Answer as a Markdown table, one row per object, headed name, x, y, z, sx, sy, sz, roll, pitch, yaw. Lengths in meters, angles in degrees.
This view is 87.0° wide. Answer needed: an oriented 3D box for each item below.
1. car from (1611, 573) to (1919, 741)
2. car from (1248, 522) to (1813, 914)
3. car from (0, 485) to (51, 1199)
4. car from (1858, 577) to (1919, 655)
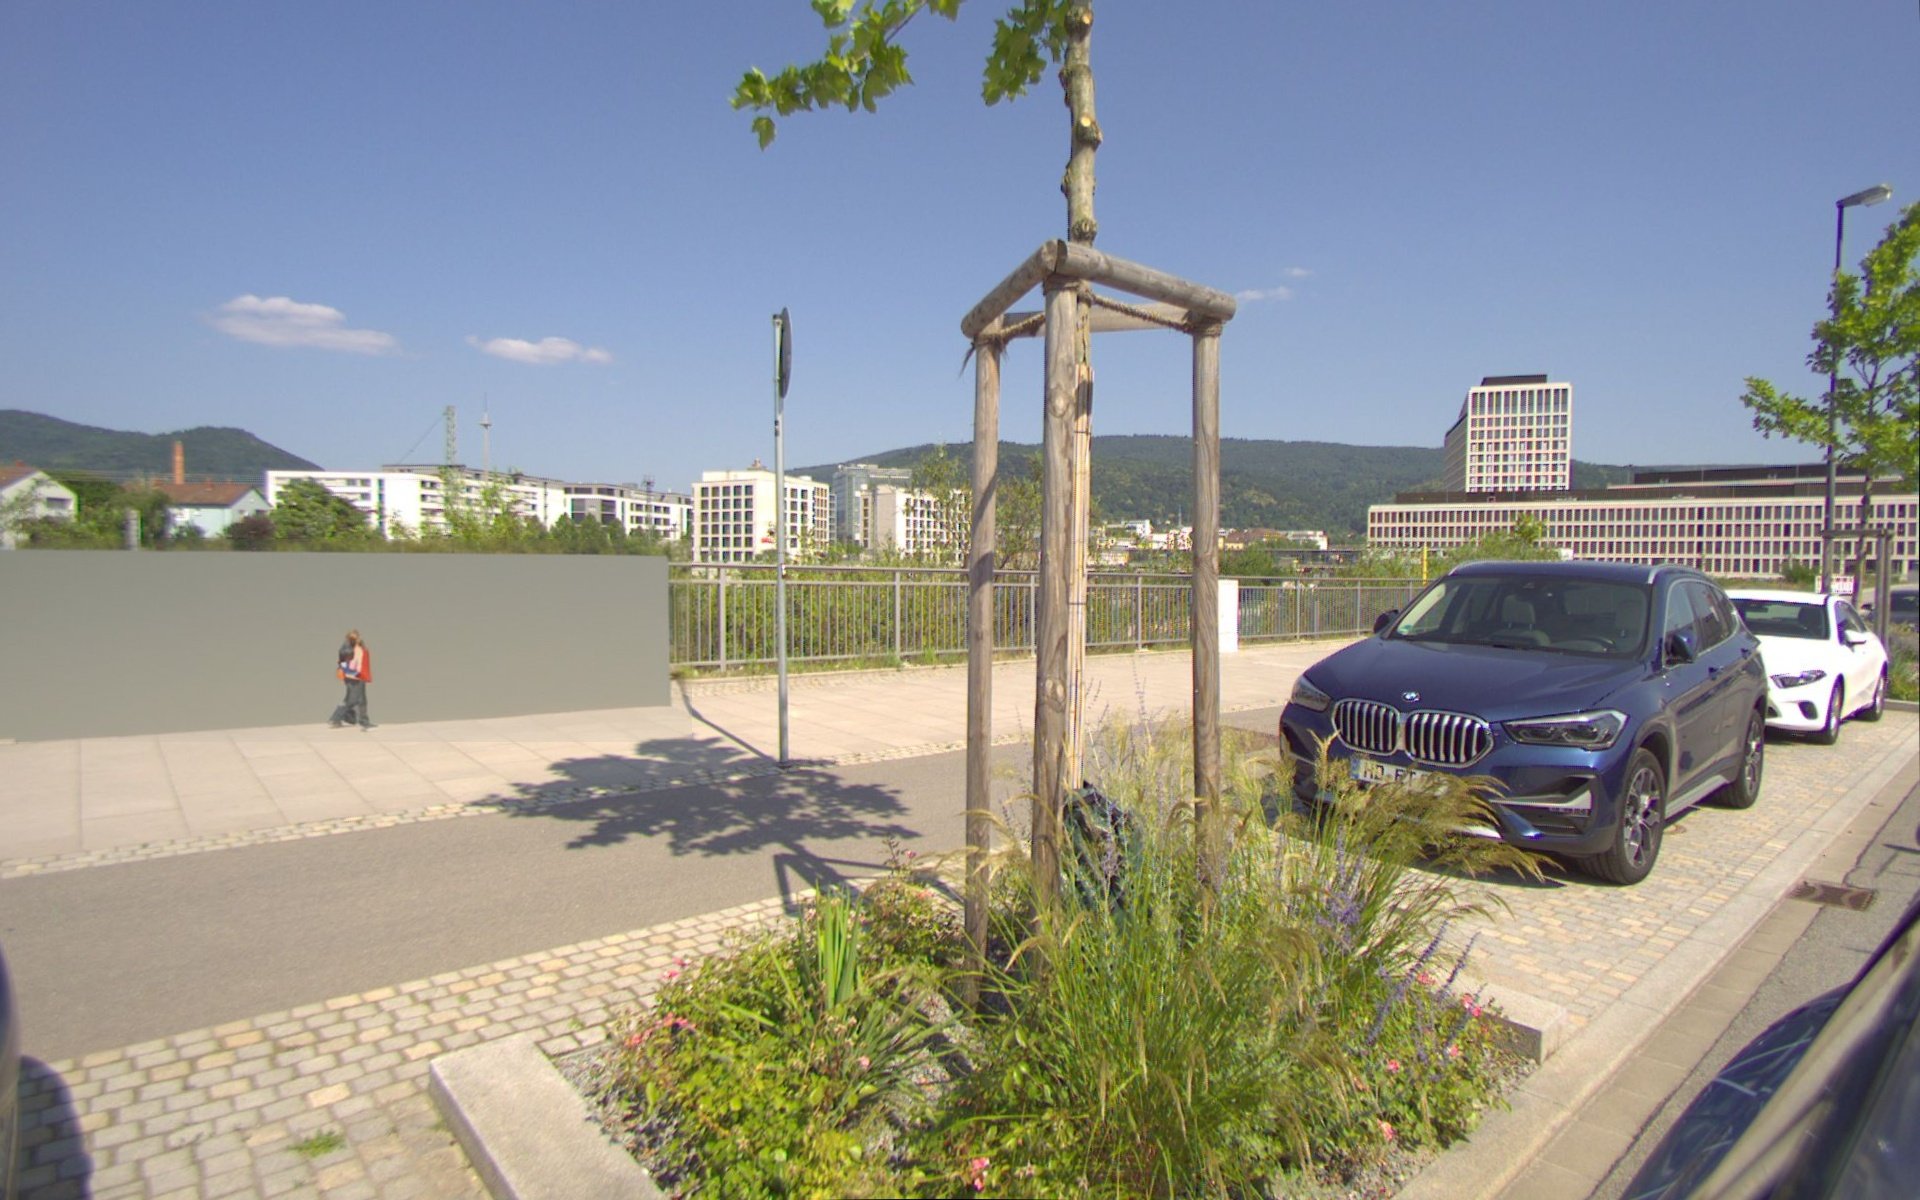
| name | x | y | z | sx | sy | sz | roll | pitch | yaw |
| --- | --- | --- | --- | --- | --- | --- | --- | --- | --- |
| car | 8.843 | 0.462 | 10.988 | 4.194 | 1.390 | 1.711 | -1 | 5 | -39 |
| car | 3.822 | 0.424 | 6.447 | 4.197 | 1.703 | 1.807 | -1 | 4 | -41 |
| car | -2.839 | 0.610 | 0.520 | 3.485 | 1.574 | 1.585 | 0 | 4 | -41 |
| car | 20.188 | 0.306 | 20.996 | 3.849 | 1.449 | 1.808 | -1 | 5 | -41 |
